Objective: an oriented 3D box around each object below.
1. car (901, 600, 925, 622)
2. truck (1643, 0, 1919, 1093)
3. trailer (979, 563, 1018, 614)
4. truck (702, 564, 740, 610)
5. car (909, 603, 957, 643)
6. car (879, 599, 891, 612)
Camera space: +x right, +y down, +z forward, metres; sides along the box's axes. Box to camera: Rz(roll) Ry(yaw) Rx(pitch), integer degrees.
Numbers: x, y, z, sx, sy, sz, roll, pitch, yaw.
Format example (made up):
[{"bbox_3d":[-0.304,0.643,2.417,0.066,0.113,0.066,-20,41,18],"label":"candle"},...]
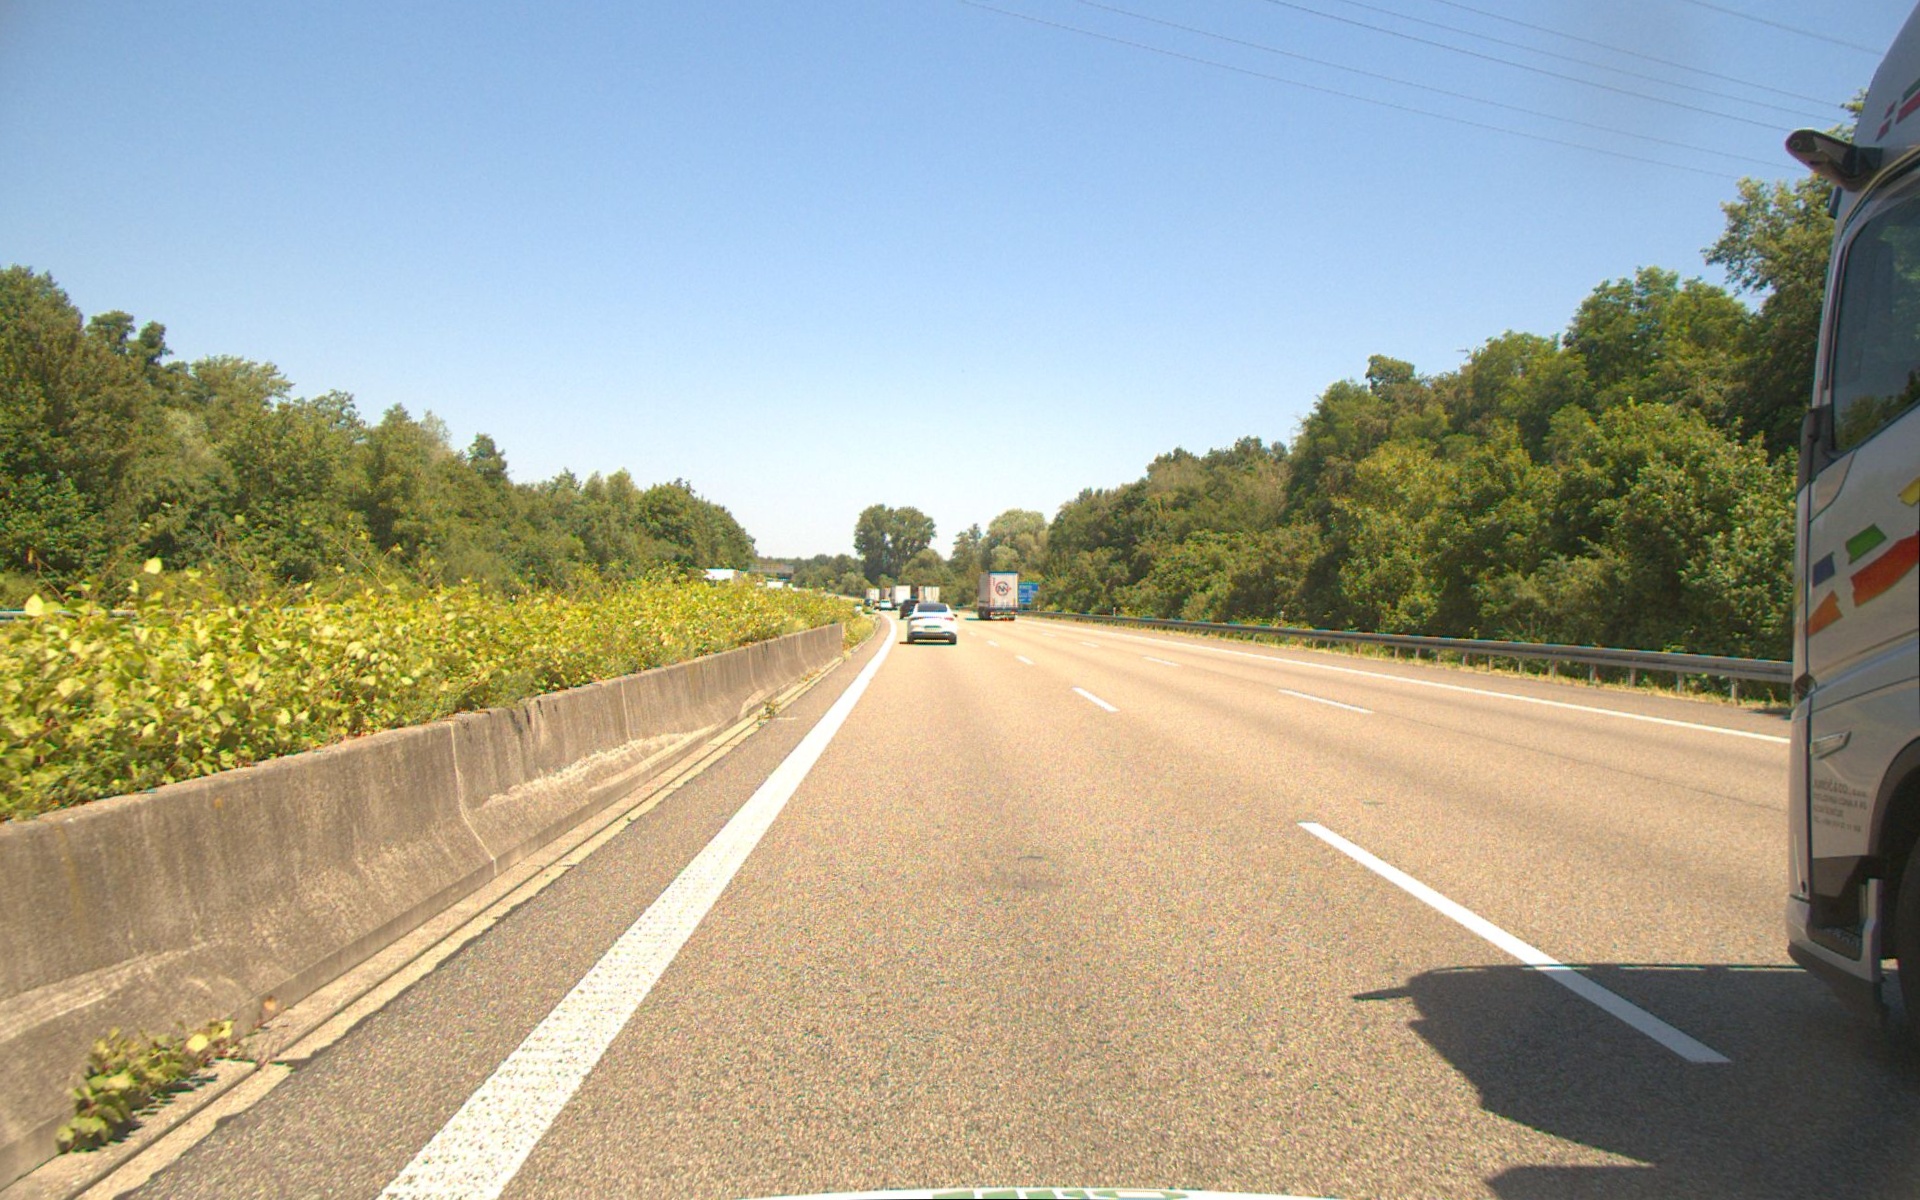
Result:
[{"bbox_3d":[-4.081,0.944,142.359,1.954,1.803,3.997,1,0,-4],"label":"car"},{"bbox_3d":[4.279,-0.519,3.681,2.668,4.044,6.499,1,0,-1],"label":"truck"},{"bbox_3d":[3.374,-0.976,147.408,2.571,4.335,14.054,1,0,-2],"label":"trailer"},{"bbox_3d":[-21.517,-1.165,149.059,2.606,4.054,6.552,1,0,-2],"label":"truck"},{"bbox_3d":[-0.976,0.812,59.952,1.680,1.393,3.374,1,0,-1],"label":"car"},{"bbox_3d":[-11.308,0.799,249.872,1.688,1.814,4.000,1,0,0],"label":"car"}]
